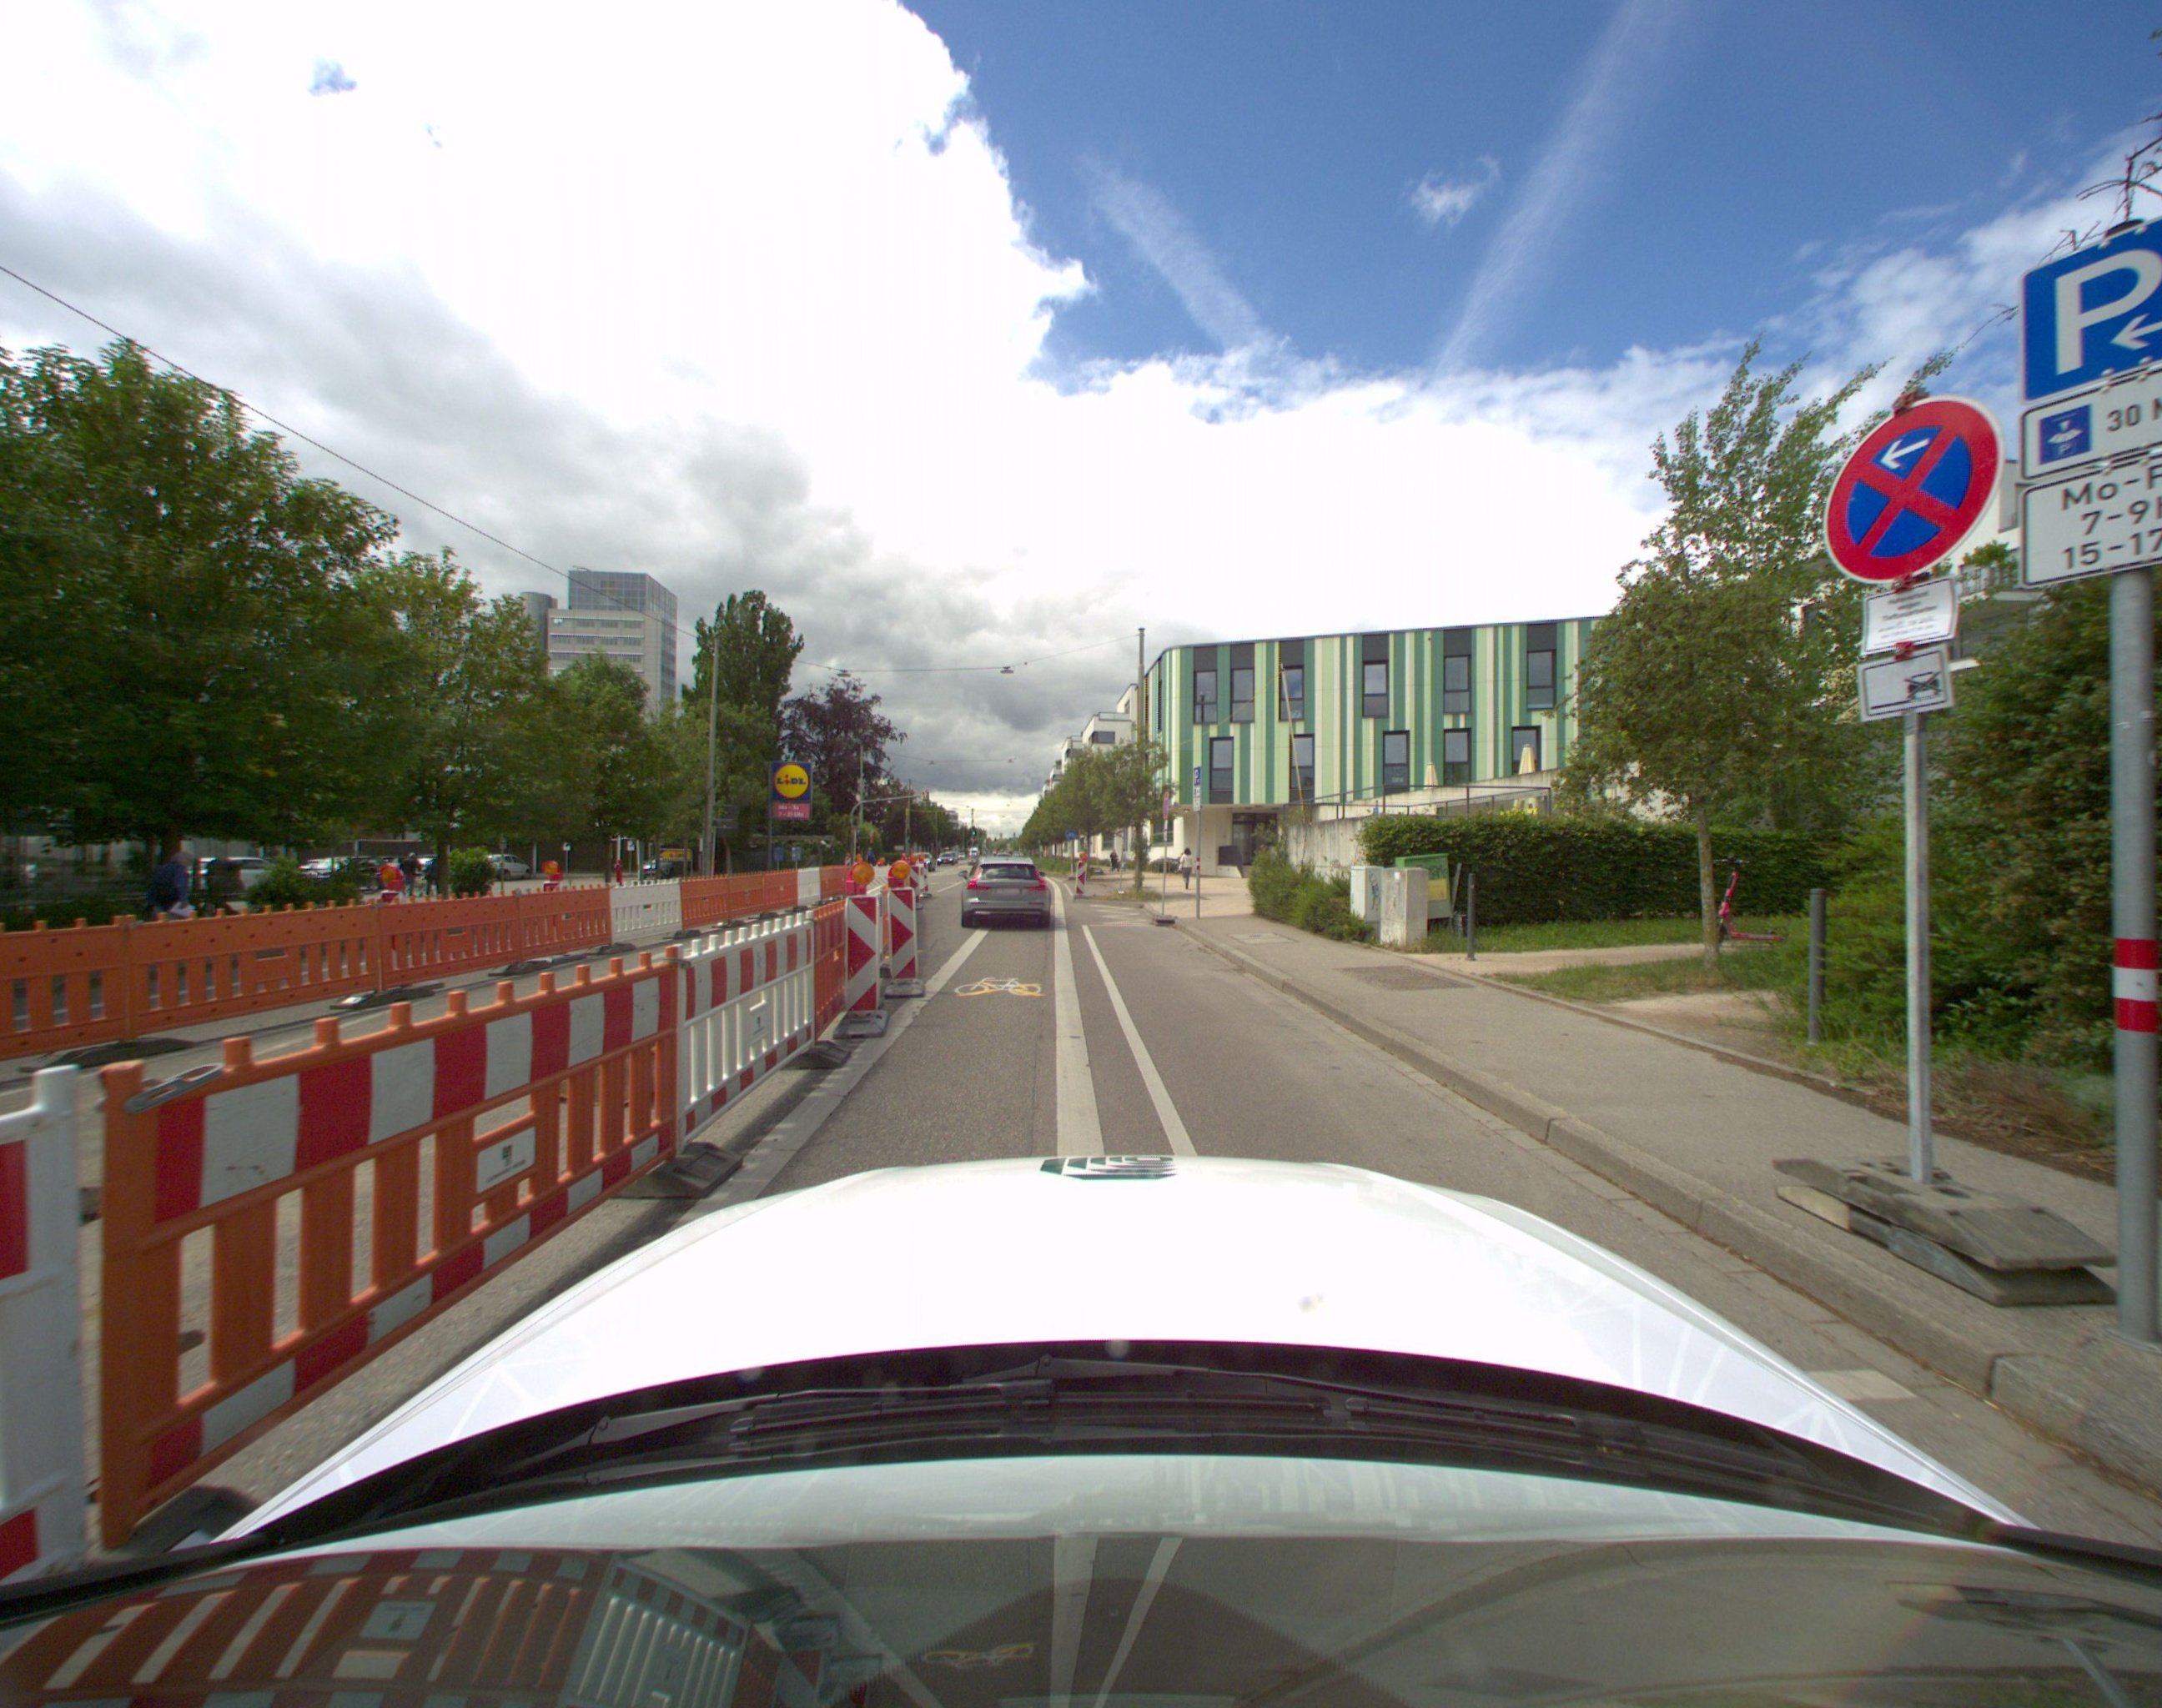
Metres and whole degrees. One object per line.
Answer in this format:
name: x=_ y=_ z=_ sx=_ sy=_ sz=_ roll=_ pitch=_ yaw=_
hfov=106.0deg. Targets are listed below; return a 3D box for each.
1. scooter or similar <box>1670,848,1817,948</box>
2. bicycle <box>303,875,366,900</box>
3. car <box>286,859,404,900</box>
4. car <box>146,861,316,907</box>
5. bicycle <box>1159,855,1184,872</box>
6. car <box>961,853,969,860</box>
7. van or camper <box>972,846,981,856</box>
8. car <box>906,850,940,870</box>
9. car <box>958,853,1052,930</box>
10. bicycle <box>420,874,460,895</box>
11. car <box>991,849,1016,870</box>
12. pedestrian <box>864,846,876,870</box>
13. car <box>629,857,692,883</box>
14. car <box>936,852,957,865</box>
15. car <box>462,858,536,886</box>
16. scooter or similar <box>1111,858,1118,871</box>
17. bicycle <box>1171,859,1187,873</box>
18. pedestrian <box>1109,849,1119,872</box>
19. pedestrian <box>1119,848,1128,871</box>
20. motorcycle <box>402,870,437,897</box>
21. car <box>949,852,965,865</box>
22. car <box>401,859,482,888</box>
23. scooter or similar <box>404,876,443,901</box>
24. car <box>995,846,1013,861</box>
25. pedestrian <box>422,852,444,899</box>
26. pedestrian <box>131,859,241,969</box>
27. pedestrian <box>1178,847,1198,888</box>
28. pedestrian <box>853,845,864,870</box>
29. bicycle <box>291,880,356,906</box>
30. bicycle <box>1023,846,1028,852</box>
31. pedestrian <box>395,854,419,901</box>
scooter or similar: x=9.213 y=0.589 z=11.370 sx=1.387 sy=1.325 sz=0.824 roll=0 pitch=1 yaw=1
bicycle: x=-30.948 y=1.368 z=33.798 sx=1.889 sy=0.957 sz=0.346 roll=-1 pitch=0 yaw=-28
car: x=-33.805 y=1.119 z=37.562 sx=1.991 sy=1.695 sz=3.992 roll=-1 pitch=0 yaw=-6
car: x=-32.833 y=1.091 z=31.701 sx=1.991 sy=1.572 sz=4.663 roll=-1 pitch=0 yaw=-6
bicycle: x=5.548 y=0.573 z=49.944 sx=1.468 sy=1.045 sz=0.305 roll=-1 pitch=0 yaw=-18
car: x=-26.040 y=0.660 z=182.872 sx=1.659 sy=1.515 sz=3.992 roll=0 pitch=0 yaw=-6
van or camper: x=-28.865 y=-0.935 z=224.594 sx=1.993 sy=2.734 sz=6.032 roll=-1 pitch=0 yaw=-10
car: x=-12.203 y=0.432 z=63.057 sx=1.849 sy=1.513 sz=3.998 roll=-1 pitch=0 yaw=-1
car: x=-1.602 y=0.752 z=18.220 sx=1.850 sy=1.513 sz=3.996 roll=0 pitch=0 yaw=-3
bicycle: x=-30.558 y=1.459 z=38.833 sx=1.646 sy=0.957 sz=0.313 roll=-1 pitch=0 yaw=0
car: x=-5.913 y=0.418 z=62.206 sx=1.852 sy=1.513 sz=3.992 roll=1 pitch=0 yaw=-6
pedestrian: x=-16.062 y=0.294 z=61.940 sx=0.680 sy=1.854 sz=0.890 roll=-1 pitch=0 yaw=-5
car: x=-25.493 y=0.910 z=49.494 sx=1.991 sy=1.453 sz=3.992 roll=-1 pitch=0 yaw=-6
car: x=-15.553 y=0.493 z=94.270 sx=1.991 sy=1.399 sz=4.802 roll=-2 pitch=0 yaw=-5
car: x=-34.732 y=1.033 z=48.761 sx=1.993 sy=1.552 sz=3.987 roll=-1 pitch=0 yaw=-9
scooter or similar: x=2.407 y=0.751 z=59.207 sx=0.421 sy=0.905 sz=0.680 roll=-1 pitch=0 yaw=-6
bicycle: x=5.918 y=0.709 z=48.918 sx=1.030 sy=0.842 sz=0.304 roll=-1 pitch=0 yaw=-38
pedestrian: x=2.431 y=0.447 z=59.684 sx=0.604 sy=1.655 sz=0.551 roll=-1 pitch=0 yaw=-6
pedestrian: x=3.121 y=0.409 z=59.261 sx=0.549 sy=1.655 sz=0.606 roll=-1 pitch=0 yaw=-6
motorcycle: x=-30.479 y=1.335 z=37.522 sx=1.930 sy=1.193 sz=0.867 roll=-1 pitch=0 yaw=39
car: x=-16.428 y=0.568 z=107.912 sx=1.747 sy=1.555 sz=4.394 roll=-1 pitch=0 yaw=-5
car: x=-37.169 y=1.103 z=47.487 sx=1.993 sy=1.552 sz=3.987 roll=-1 pitch=0 yaw=-9
scooter or similar: x=-26.754 y=1.405 z=33.151 sx=0.653 sy=0.943 sz=1.226 roll=-1 pitch=0 yaw=-8
car: x=-8.359 y=-0.050 z=88.526 sx=1.842 sy=1.513 sz=3.992 roll=1 pitch=0 yaw=-6
pedestrian: x=-26.065 y=0.858 z=32.749 sx=0.420 sy=1.859 sz=0.610 roll=-1 pitch=0 yaw=-8
pedestrian: x=-13.662 y=0.883 z=12.463 sx=0.752 sy=1.603 sz=0.827 roll=-1 pitch=0 yaw=-8
pedestrian: x=4.061 y=0.504 z=30.927 sx=0.580 sy=1.551 sz=0.867 roll=-1 pitch=0 yaw=-6
pedestrian: x=-16.904 y=0.283 z=61.800 sx=0.680 sy=1.854 sz=0.705 roll=-1 pitch=0 yaw=-6
bicycle: x=-30.712 y=1.571 z=33.036 sx=1.889 sy=0.957 sz=0.346 roll=-1 pitch=0 yaw=-28
bicycle: x=-14.629 y=-1.379 z=213.686 sx=1.065 sy=1.453 sz=2.971 roll=-1 pitch=0 yaw=-6
pedestrian: x=-26.666 y=0.917 z=32.223 sx=0.420 sy=1.859 sz=0.610 roll=-1 pitch=0 yaw=-8
